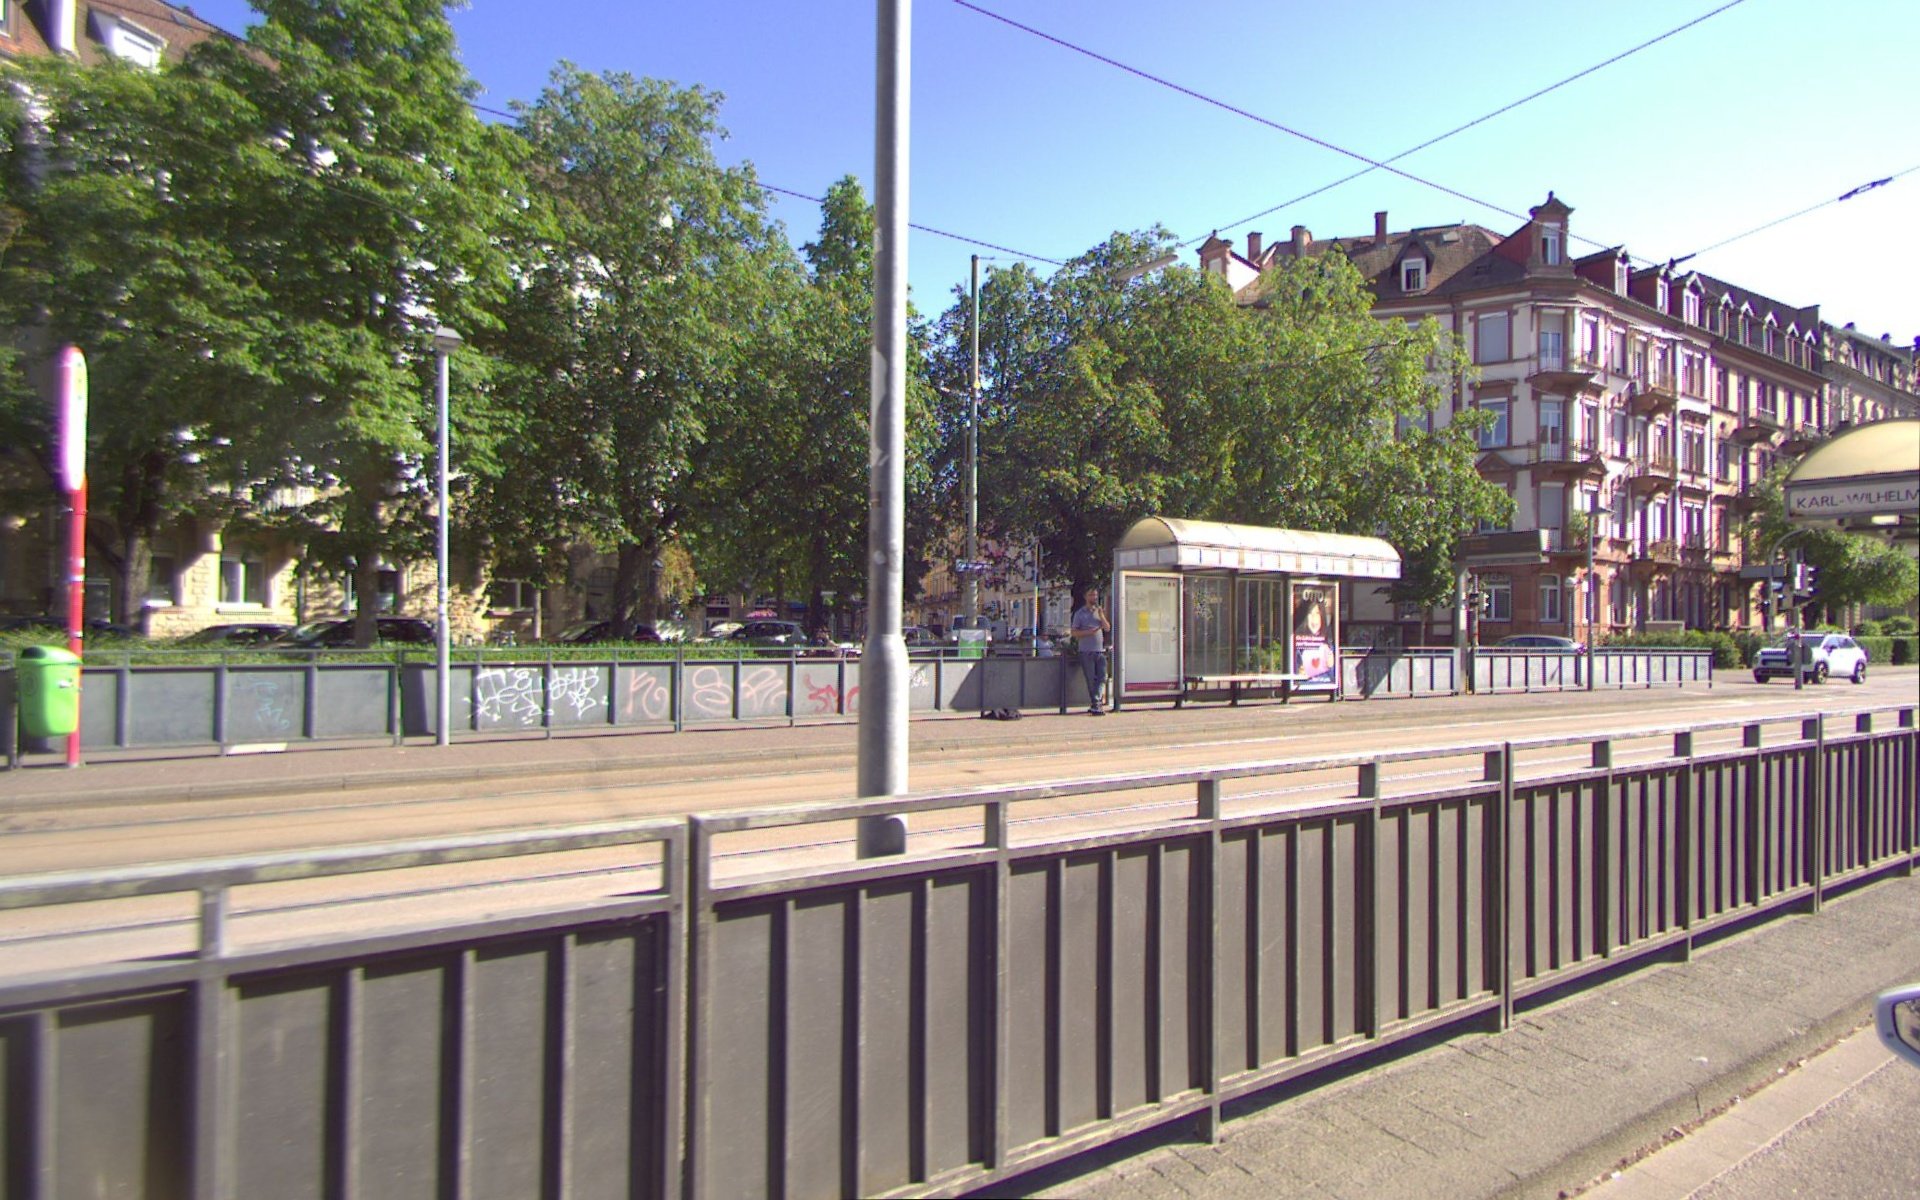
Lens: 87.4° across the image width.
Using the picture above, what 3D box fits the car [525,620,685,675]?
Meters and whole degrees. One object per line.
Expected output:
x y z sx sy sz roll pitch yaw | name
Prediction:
-10.079 1.308 28.665 3.974 1.450 1.730 1 -2 -45 | car

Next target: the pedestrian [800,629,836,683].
-3.282 1.284 23.253 0.599 1.217 0.576 -1 -2 41 | pedestrian

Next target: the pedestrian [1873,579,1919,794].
9.458 0.830 9.679 0.732 2.040 0.791 2 -1 -32 | pedestrian

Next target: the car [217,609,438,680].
-14.100 0.955 22.666 1.719 1.450 3.999 -1 -1 21 | car

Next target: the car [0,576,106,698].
-16.994 0.588 16.810 1.961 2.040 3.999 2 -1 -2 | car

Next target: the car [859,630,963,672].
-1.766 1.838 37.087 1.725 1.450 3.985 -1 -1 36 | car

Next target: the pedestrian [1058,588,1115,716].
1.845 0.747 14.687 0.573 1.819 0.602 1 -2 -34 | pedestrian

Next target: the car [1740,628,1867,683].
27.016 1.770 32.160 3.950 1.639 1.769 2 -1 -28 | car

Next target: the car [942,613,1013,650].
0.971 1.807 58.726 1.975 2.040 4.994 2 -1 -27 | car

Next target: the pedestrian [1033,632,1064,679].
2.346 1.460 26.499 0.599 1.217 0.576 -1 -2 41 | pedestrian

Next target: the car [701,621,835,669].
-6.198 1.419 32.586 3.968 1.450 1.733 1 -1 -41 | car

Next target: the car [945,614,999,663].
0.499 1.691 45.186 1.962 2.040 4.586 2 -1 -4 | car
